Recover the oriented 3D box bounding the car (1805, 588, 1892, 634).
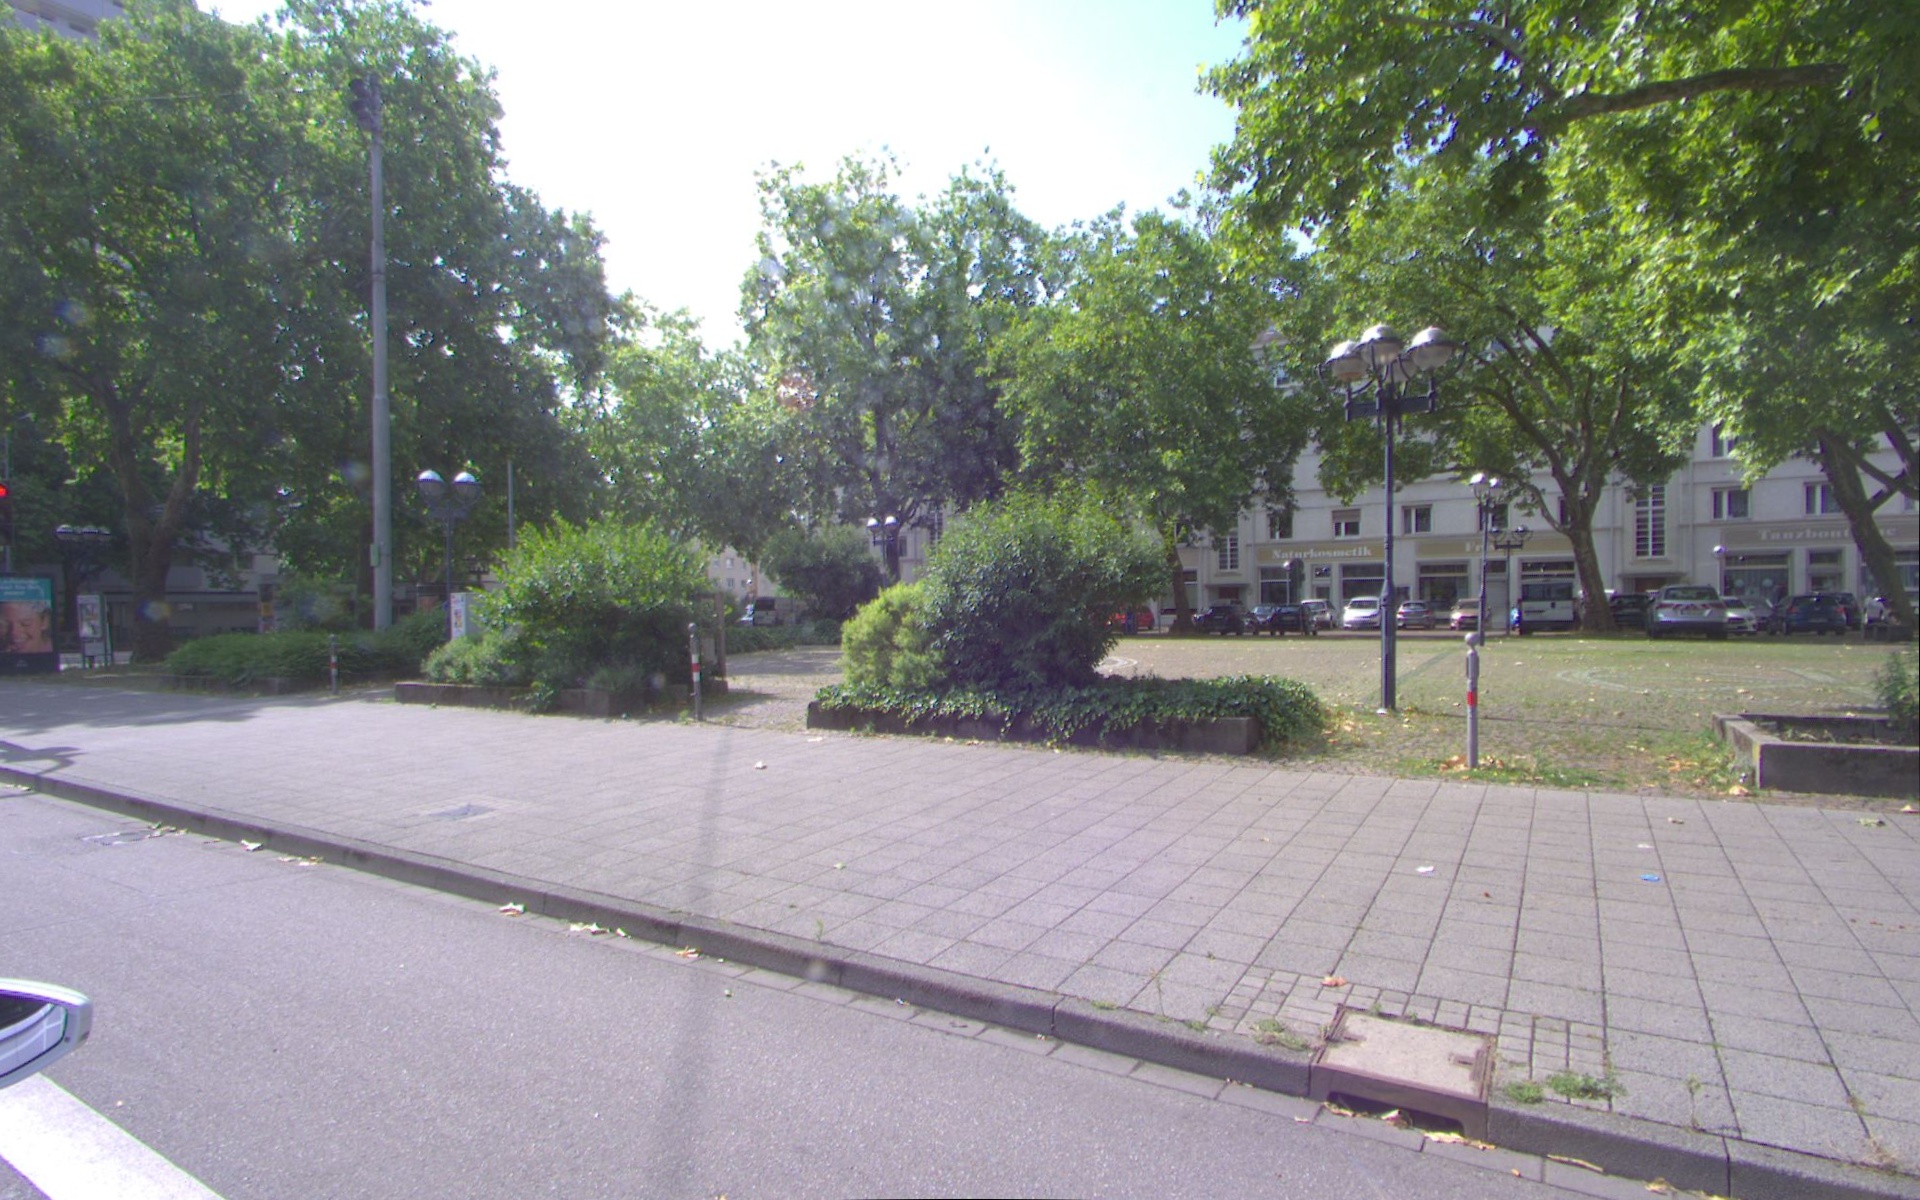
[{"bbox_3d":[37.629,0.435,42.550,2.161,1.828,4.668,0,0,34],"label":"car"}]

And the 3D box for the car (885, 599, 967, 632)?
[{"bbox_3d":[-1.805,0.839,55.100,2.161,1.729,4.668,0,0,34],"label":"car"}]

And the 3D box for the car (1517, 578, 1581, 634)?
[{"bbox_3d":[23.052,0.226,39.132,2.047,2.040,4.245,0,0,32],"label":"car"}]

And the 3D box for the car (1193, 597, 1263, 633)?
[{"bbox_3d":[12.417,0.667,46.149,1.958,1.541,4.245,-1,0,32],"label":"car"}]

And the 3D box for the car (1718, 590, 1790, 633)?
[{"bbox_3d":[35.277,0.477,44.620,2.161,1.828,4.730,0,0,34],"label":"car"}]

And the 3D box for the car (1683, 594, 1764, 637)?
[{"bbox_3d":[27.268,0.512,35.867,1.931,1.440,4.156,-1,0,32],"label":"car"}]

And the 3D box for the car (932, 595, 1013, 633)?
[{"bbox_3d":[0.743,0.731,54.033,2.161,1.955,4.668,0,0,34],"label":"car"}]

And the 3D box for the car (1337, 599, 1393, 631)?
[{"bbox_3d":[21.381,0.763,52.714,1.958,1.570,4.671,-1,0,32],"label":"car"}]

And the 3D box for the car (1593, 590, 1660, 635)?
[{"bbox_3d":[25.142,0.437,37.890,1.971,1.615,4.245,-1,0,32],"label":"car"}]

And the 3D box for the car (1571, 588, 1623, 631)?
[{"bbox_3d":[30.349,0.429,47.747,2.009,1.955,4.671,0,0,32],"label":"car"}]

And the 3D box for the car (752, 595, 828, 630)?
[{"bbox_3d":[-10.148,0.707,60.009,2.048,2.040,4.403,0,0,33],"label":"car"}]

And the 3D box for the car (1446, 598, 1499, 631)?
[{"bbox_3d":[25.859,0.719,50.440,2.009,1.570,4.671,-1,0,32],"label":"car"}]

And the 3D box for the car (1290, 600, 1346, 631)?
[{"bbox_3d":[19.416,0.812,54.143,1.958,1.570,4.415,-1,0,32],"label":"car"}]

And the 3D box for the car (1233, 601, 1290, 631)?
[{"bbox_3d":[16.782,0.858,55.620,1.958,1.541,4.245,-1,0,32],"label":"car"}]

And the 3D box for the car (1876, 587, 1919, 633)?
[{"bbox_3d":[39.585,0.376,41.152,2.161,1.828,4.730,0,0,34],"label":"car"}]

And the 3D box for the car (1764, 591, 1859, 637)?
[{"bbox_3d":[30.107,0.462,35.530,1.971,1.544,4.143,-1,0,32],"label":"car"}]

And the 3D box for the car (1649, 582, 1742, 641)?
[{"bbox_3d":[22.088,0.320,30.215,1.971,1.657,4.143,0,0,32],"label":"car"}]

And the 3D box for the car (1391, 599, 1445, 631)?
[{"bbox_3d":[23.732,0.745,51.752,1.958,1.570,4.671,-1,0,32],"label":"car"}]

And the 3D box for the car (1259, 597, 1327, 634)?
[{"bbox_3d":[14.899,0.649,44.644,1.958,1.541,4.245,-1,0,32],"label":"car"}]
